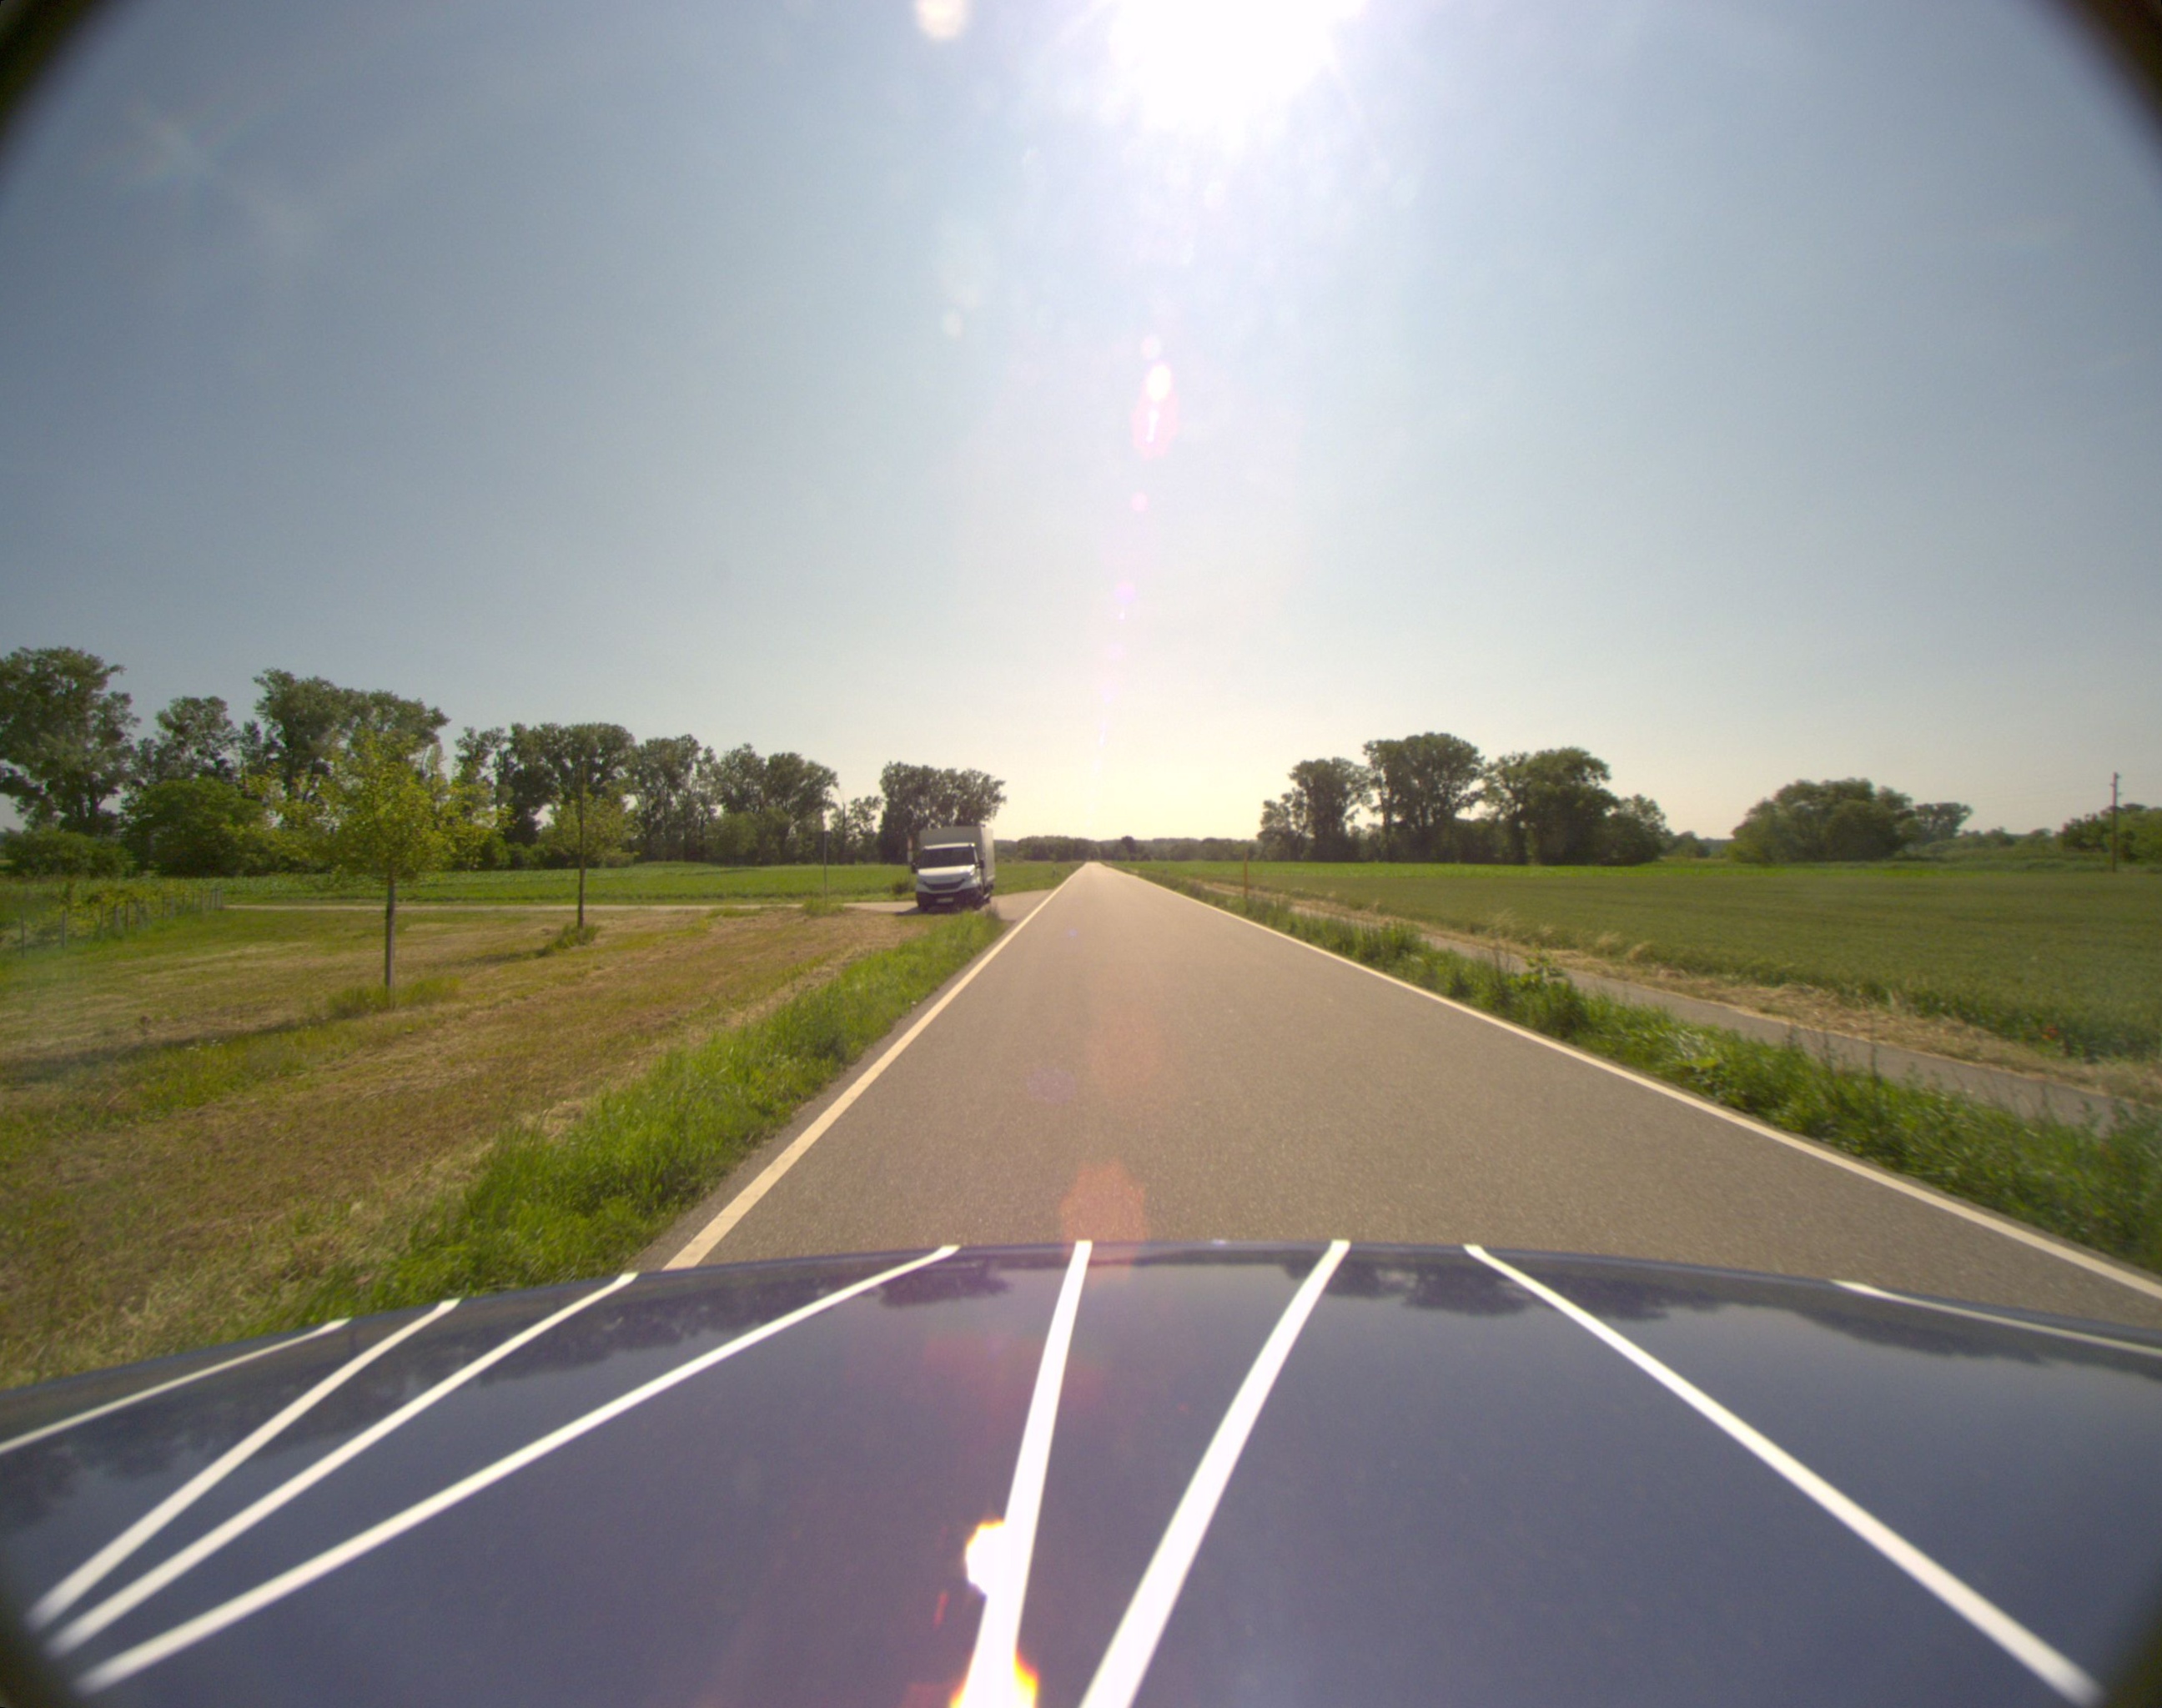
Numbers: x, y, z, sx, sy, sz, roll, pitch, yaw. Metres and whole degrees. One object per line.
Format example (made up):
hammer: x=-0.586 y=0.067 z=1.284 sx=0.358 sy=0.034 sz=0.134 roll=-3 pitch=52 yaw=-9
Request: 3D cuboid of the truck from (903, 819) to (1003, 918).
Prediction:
truck: x=-4.348 y=0.433 z=27.132 sx=2.341 sy=2.925 sz=7.007 roll=-4 pitch=0 yaw=-1
